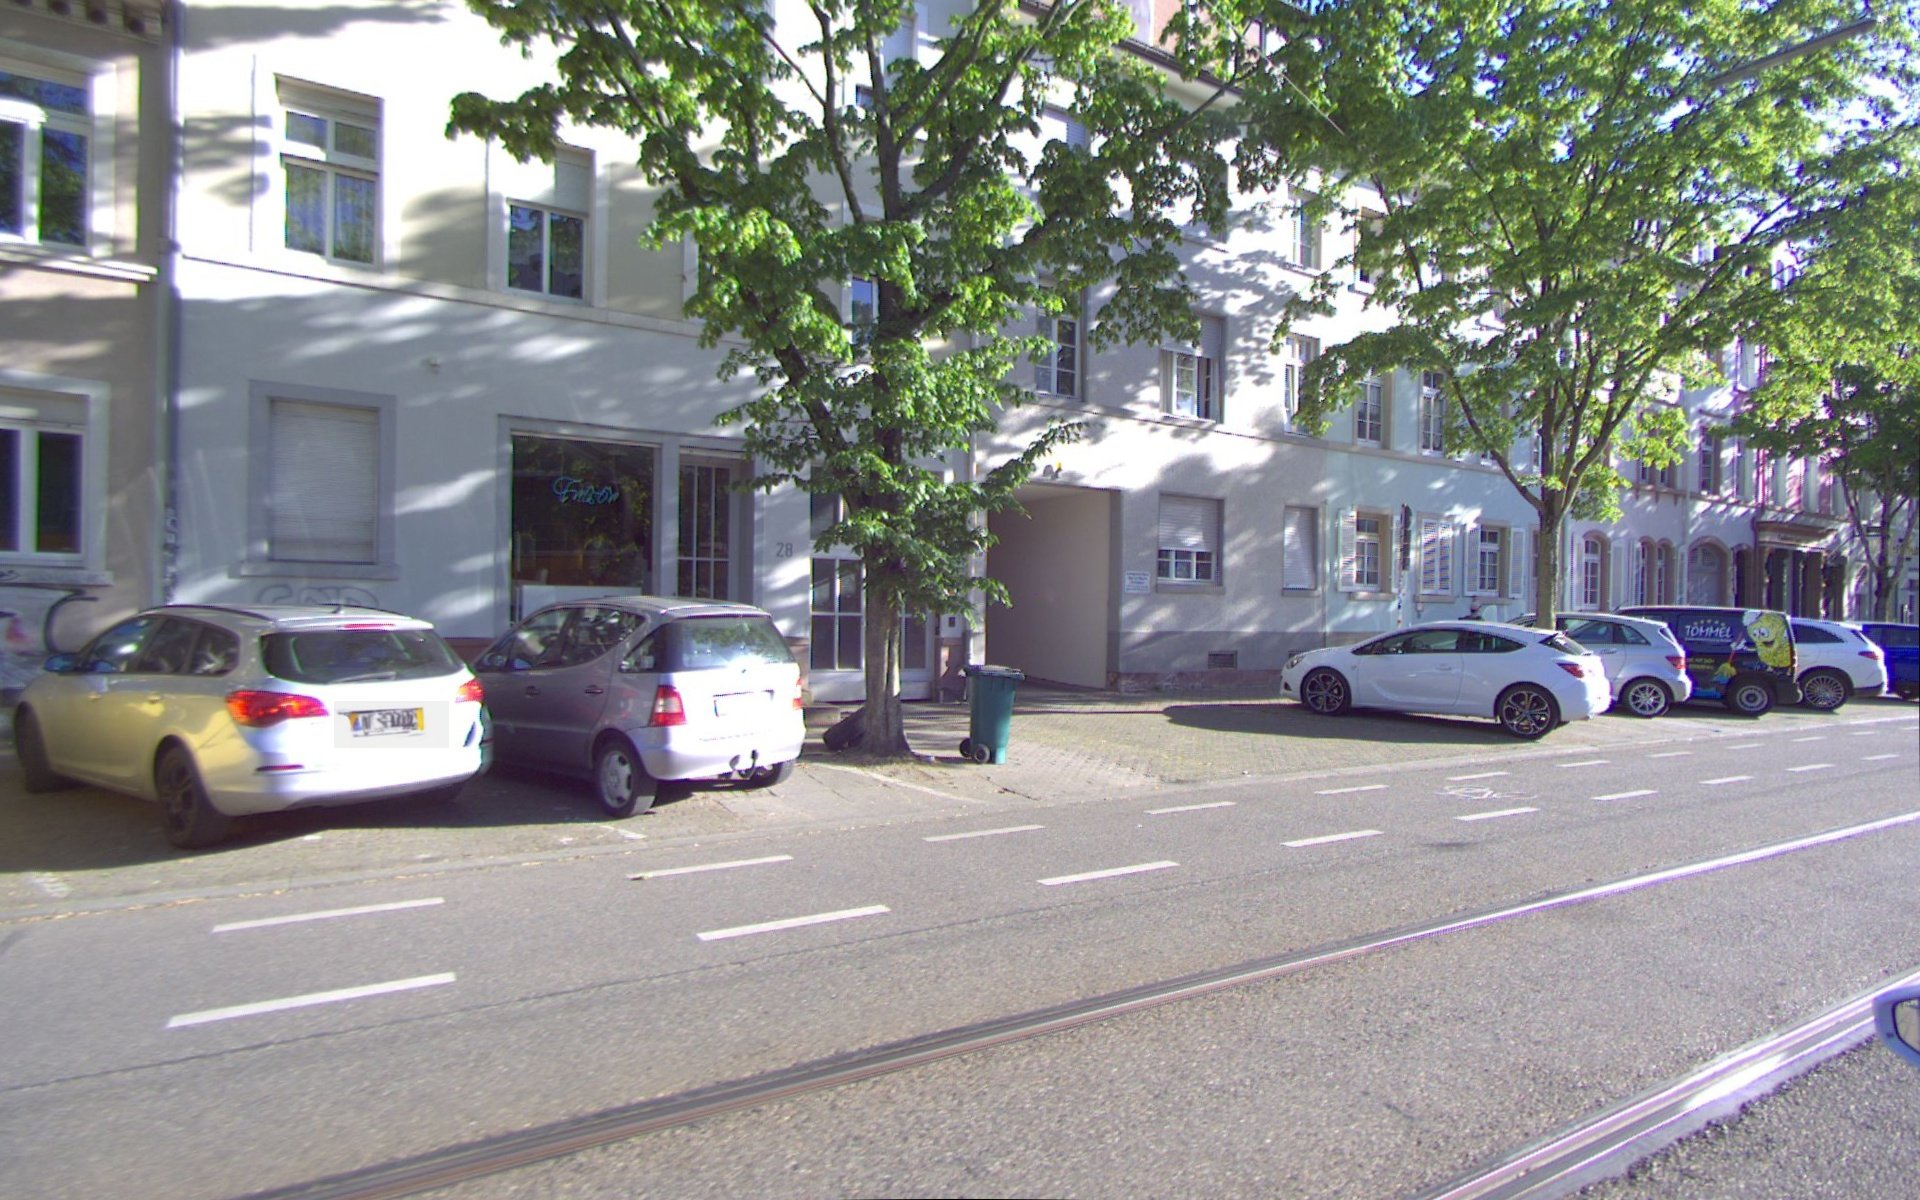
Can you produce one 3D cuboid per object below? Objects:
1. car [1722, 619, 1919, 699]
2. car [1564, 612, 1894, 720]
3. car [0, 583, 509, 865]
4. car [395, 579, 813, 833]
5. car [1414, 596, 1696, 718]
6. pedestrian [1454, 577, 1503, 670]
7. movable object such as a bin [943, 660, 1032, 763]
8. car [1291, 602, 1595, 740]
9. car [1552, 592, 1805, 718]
[{"bbox_3d":[19.300,1.256,22.038,3.827,1.630,1.573,0,-1,23],"label":"car"},{"bbox_3d":[15.021,1.213,20.067,4.849,1.818,2.206,1,0,27],"label":"car"},{"bbox_3d":[-5.385,0.713,7.404,4.098,1.573,1.699,0,-1,30],"label":"car"},{"bbox_3d":[-3.252,0.712,8.811,3.939,1.699,1.694,2,1,40],"label":"car"},{"bbox_3d":[10.162,0.885,17.436,3.928,1.679,1.807,4,3,30],"label":"car"},{"bbox_3d":[10.600,0.475,20.533,0.617,1.862,0.641,1,0,-29],"label":"pedestrian"},{"bbox_3d":[0.274,1.106,10.170,0.662,0.957,0.618,1,0,-32],"label":"movable object such as a bin"},{"bbox_3d":[7.013,0.929,14.723,3.593,1.550,1.878,4,2,40],"label":"car"},{"bbox_3d":[12.788,0.936,18.148,3.382,1.867,1.731,4,0,28],"label":"car"}]
